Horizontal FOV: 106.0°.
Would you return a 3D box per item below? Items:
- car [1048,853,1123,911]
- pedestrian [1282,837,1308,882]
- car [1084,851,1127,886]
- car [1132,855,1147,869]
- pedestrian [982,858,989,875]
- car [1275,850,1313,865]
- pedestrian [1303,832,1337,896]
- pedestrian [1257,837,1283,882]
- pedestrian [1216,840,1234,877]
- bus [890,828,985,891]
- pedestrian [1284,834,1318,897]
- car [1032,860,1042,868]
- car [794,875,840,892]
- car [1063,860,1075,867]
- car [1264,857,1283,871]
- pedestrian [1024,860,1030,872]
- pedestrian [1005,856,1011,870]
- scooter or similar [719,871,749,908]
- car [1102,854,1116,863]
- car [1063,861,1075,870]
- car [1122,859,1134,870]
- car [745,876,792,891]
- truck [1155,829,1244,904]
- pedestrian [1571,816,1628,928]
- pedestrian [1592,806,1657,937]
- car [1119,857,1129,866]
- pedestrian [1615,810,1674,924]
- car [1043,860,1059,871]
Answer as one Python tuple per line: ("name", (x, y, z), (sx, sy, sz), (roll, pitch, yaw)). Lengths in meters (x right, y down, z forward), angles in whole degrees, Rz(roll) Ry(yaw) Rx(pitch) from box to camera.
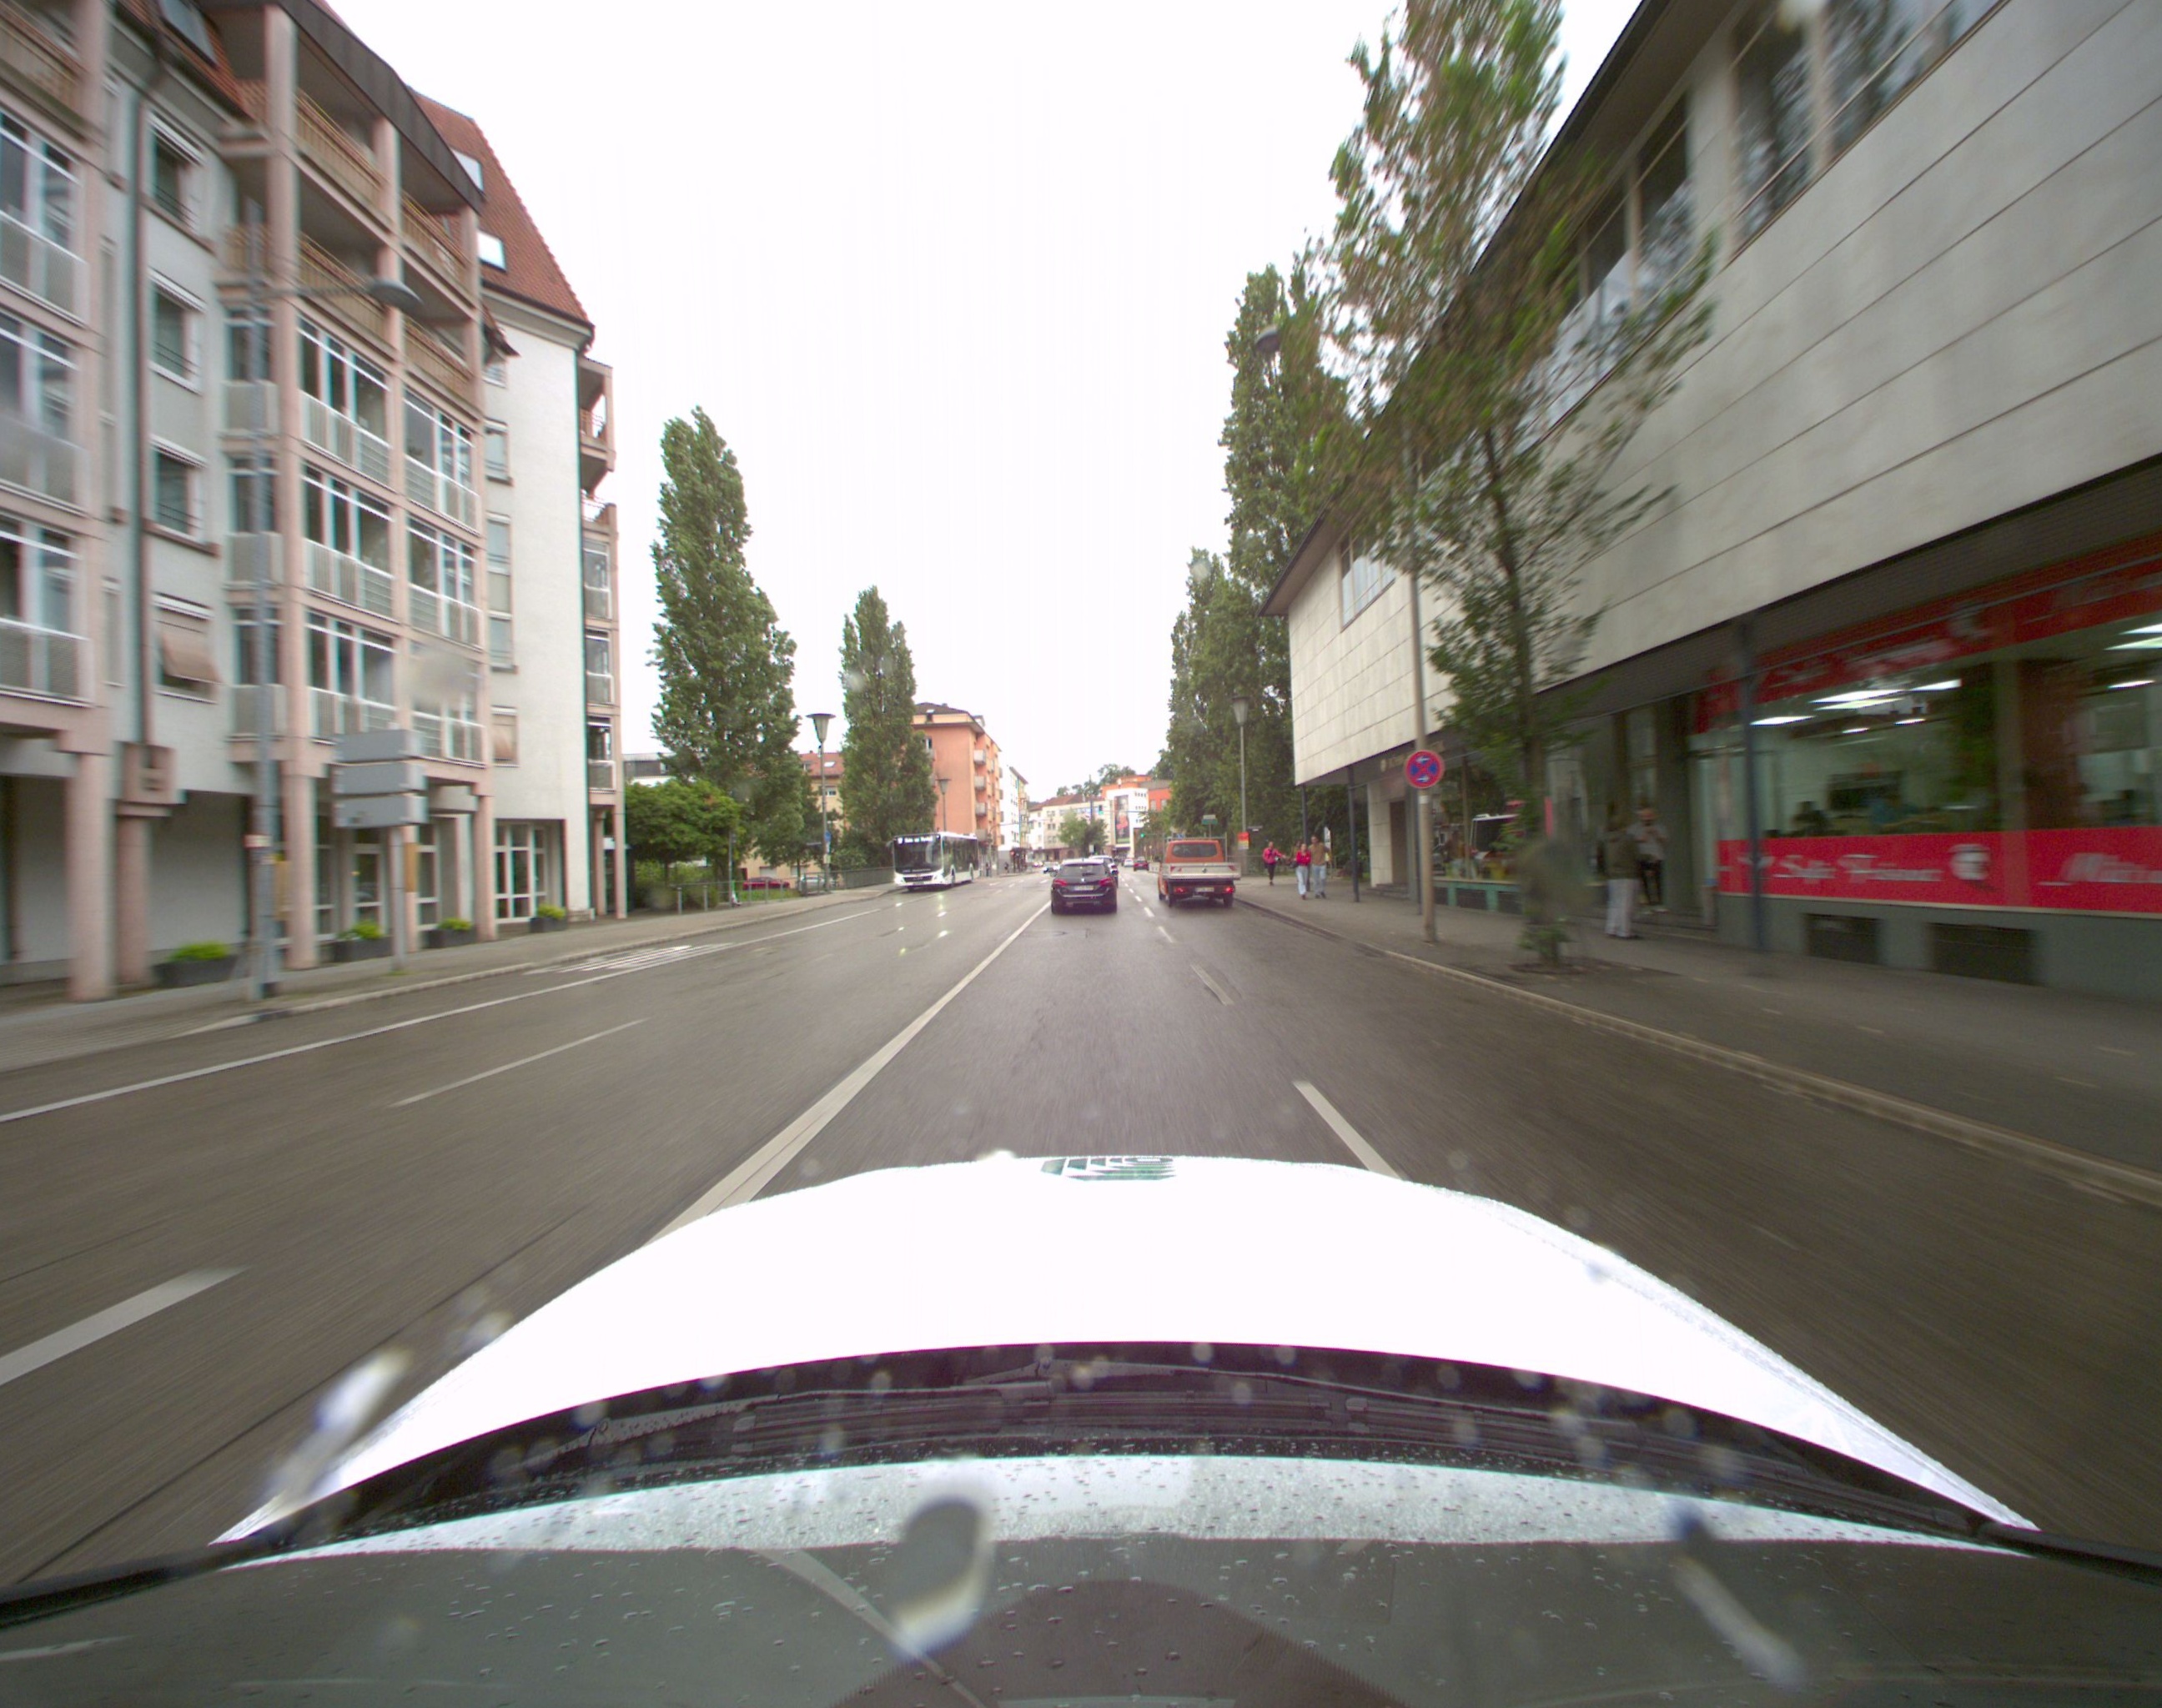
("car", (0.210, 0.751, 22.891), (1.787, 1.483, 4.004), (-1, -1, 4))
("pedestrian", (7.936, 0.199, 30.181), (0.723, 1.589, 0.607), (-4, 0, 1))
("car", (1.191, 0.650, 38.368), (1.787, 1.483, 4.004), (-3, -1, 4))
("car", (7.216, 1.038, 100.645), (1.638, 1.564, 3.600), (0, -3, 2))
("pedestrian", (-10.039, 1.297, 85.993), (0.528, 1.727, 0.649), (-3, -1, 5))
("car", (25.915, 0.458, 99.132), (4.111, 1.621, 1.804), (-2, -1, -3))
("pedestrian", (6.892, 0.281, 23.545), (0.696, 1.801, 0.607), (-4, 0, 1))
("pedestrian", (7.100, 0.215, 30.564), (0.714, 1.620, 0.769), (-4, 0, 1))
("pedestrian", (6.646, 0.213, 37.677), (0.637, 1.664, 0.563), (-3, 1, 0))
("bus", (-7.914, 0.151, 46.852), (2.733, 3.075, 12.244), (-2, 1, 2))
("pedestrian", (6.363, 0.332, 23.612), (0.651, 1.767, 0.923), (-4, 0, 1))
("car", (-9.544, 2.119, 177.990), (1.990, 1.684, 3.993), (-3, 0, -5))
("car", (-27.037, 3.030, 83.548), (3.972, 1.387, 1.900), (-4, -1, 2))
("car", (-2.420, 1.877, 160.815), (1.666, 1.399, 3.861), (-3, 0, -11))
("car", (28.417, 1.482, 120.536), (1.897, 2.014, 3.723), (0, -3, -1))
("pedestrian", (-9.404, 2.096, 142.153), (0.731, 2.014, 0.651), (2, -3, -32))
("pedestrian", (-10.154, 1.226, 113.171), (0.637, 1.861, 0.523), (-1, 0, -1))
("scooter or similar", (-13.574, 1.373, 31.896), (0.480, 1.313, 1.571), (-3, 2, -2))
("car", (5.676, 0.870, 165.037), (1.992, 1.684, 3.989), (-3, 0, -8))
("car", (-1.928, 1.887, 132.549), (1.659, 1.399, 3.877), (-3, 0, 1))
("car", (8.256, 1.812, 142.595), (1.986, 1.821, 4.001), (-1, 0, 1))
("car", (-32.033, 3.038, 83.486), (3.971, 1.388, 1.900), (-2, 0, 2))
("truck", (3.427, 0.345, 24.456), (2.114, 2.025, 4.718), (-1, 0, 2))
("pedestrian", (8.228, 0.274, 12.933), (0.533, 1.719, 0.536), (-3, 0, 10))
("pedestrian", (7.791, 0.241, 11.699), (0.533, 1.820, 0.536), (-3, 0, 10))
("car", (8.064, 1.494, 152.799), (1.641, 1.564, 3.595), (1, -3, -3))
("pedestrian", (8.778, 0.201, 12.703), (0.533, 1.719, 0.536), (-3, 0, 11))
("car", (-3.900, 1.488, 107.126), (1.785, 1.325, 4.407), (-3, 0, 1))
